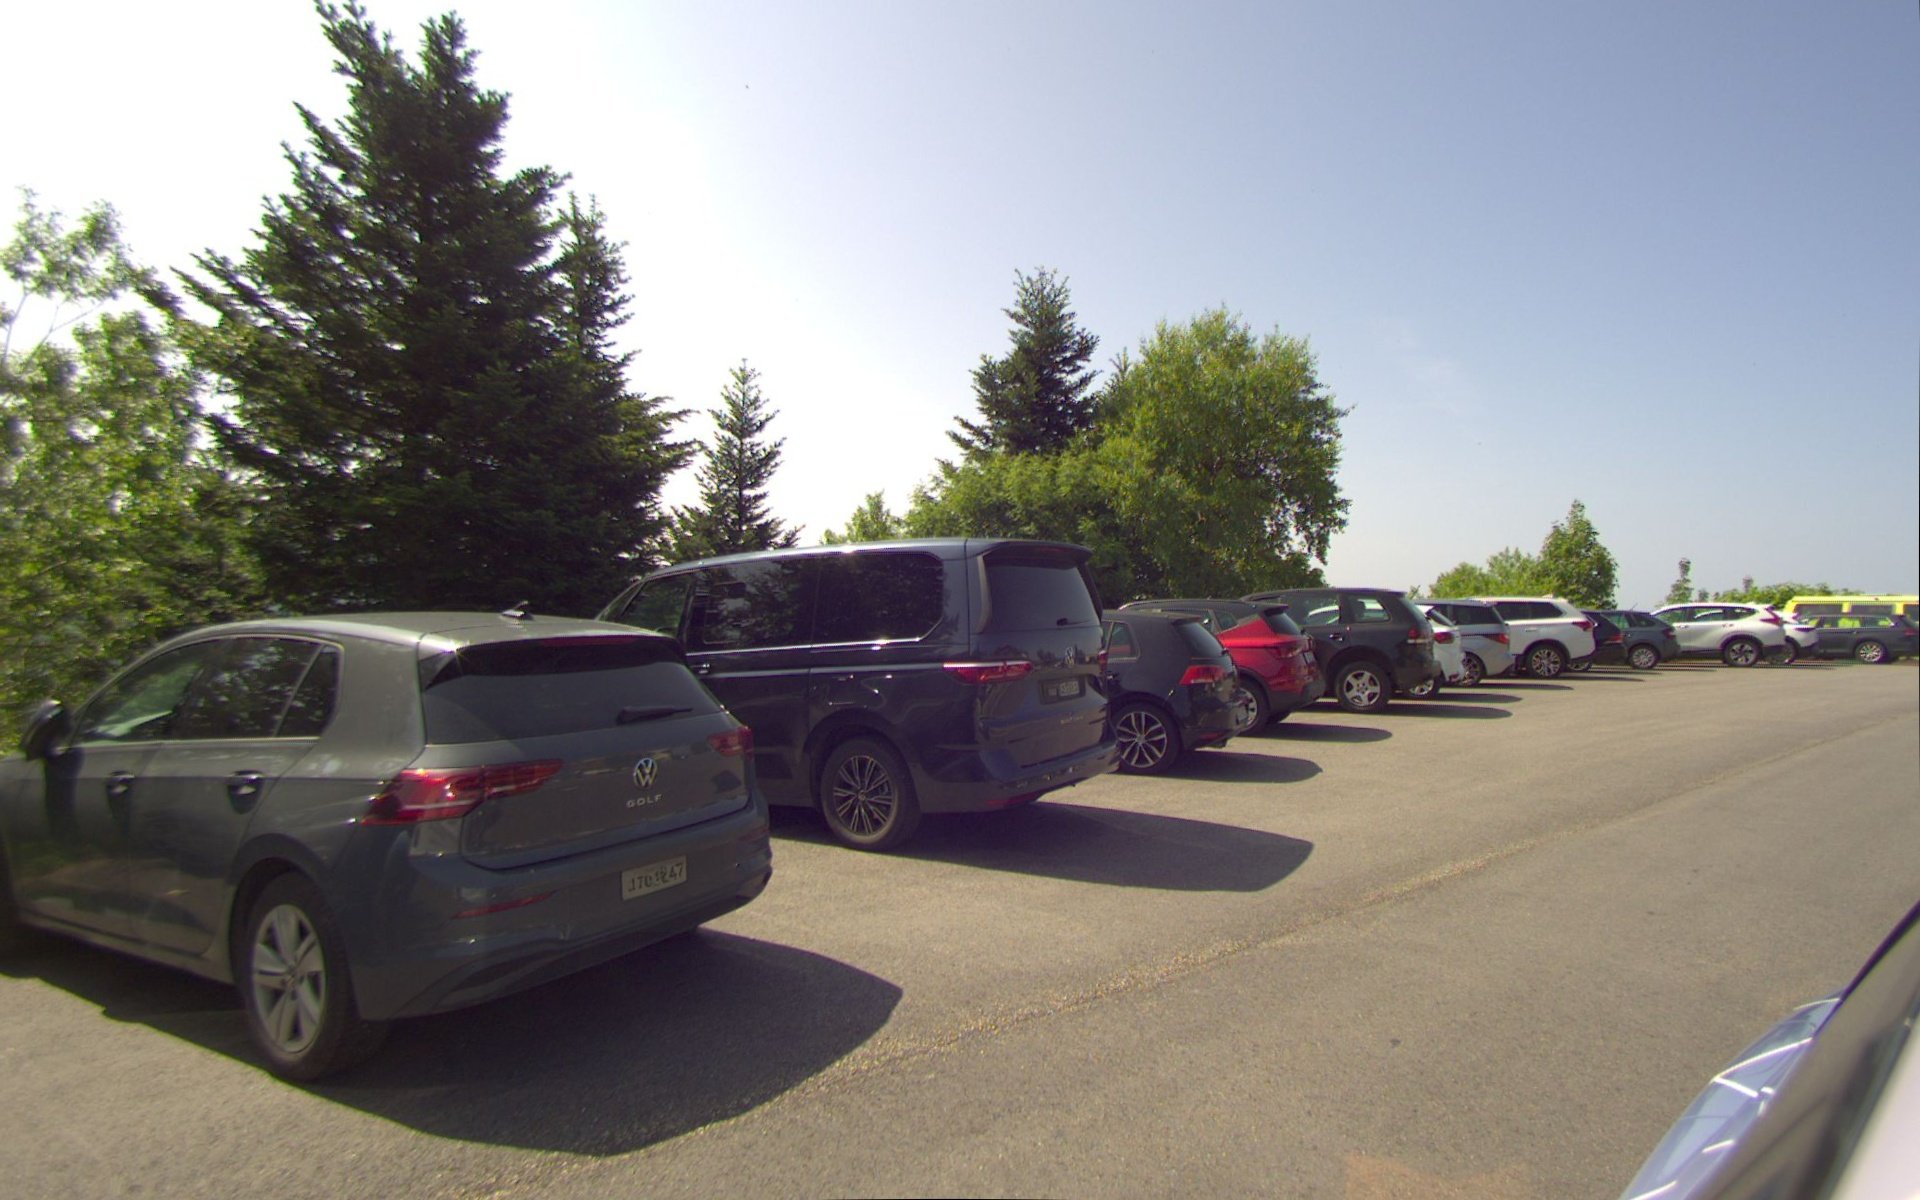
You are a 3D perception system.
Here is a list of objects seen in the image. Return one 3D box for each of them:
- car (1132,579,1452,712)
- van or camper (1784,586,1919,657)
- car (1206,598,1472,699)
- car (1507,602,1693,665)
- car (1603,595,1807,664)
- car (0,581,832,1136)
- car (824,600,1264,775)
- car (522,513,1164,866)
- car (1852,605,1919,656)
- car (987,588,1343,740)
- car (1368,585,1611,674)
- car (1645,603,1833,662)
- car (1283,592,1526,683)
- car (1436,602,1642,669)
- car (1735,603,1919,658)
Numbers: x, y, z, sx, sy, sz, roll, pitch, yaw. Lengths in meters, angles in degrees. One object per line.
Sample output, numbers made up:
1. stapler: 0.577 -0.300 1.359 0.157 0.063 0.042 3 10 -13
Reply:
1. car: 4.876 0.637 14.929 4.232 1.716 1.972 -1 -1 27
2. van or camper: 28.220 0.668 30.327 1.845 2.040 5.108 2 -3 -32
3. car: 6.283 0.760 16.841 3.962 1.495 1.750 -1 -1 28
4. car: 15.838 0.825 25.259 3.775 1.478 1.644 -1 -2 31
5. car: 19.413 0.766 26.644 4.155 1.671 1.869 -1 -2 34
6. car: -2.694 0.727 4.492 3.966 1.461 1.820 -1 -1 31
7. car: 0.815 0.764 9.895 3.955 1.433 1.730 -1 -1 24
8. car: -1.067 0.537 7.646 4.740 1.904 1.942 -1 -2 35
9. car: 30.834 0.974 31.611 1.671 1.609 4.165 2 -1 -33
10. car: 2.511 0.730 12.501 3.961 1.610 1.846 -1 -1 27
11. car: 10.898 0.594 21.187 4.167 1.716 1.854 0 -1 16
12. car: 21.749 0.840 28.340 4.082 1.519 1.915 0 0 42
13. car: 8.166 0.688 18.957 3.950 1.569 1.808 -1 -1 21
14. car: 13.481 0.829 23.880 4.008 1.480 1.878 -1 -1 25
15. car: 25.398 0.889 29.337 1.780 1.507 4.357 3 -3 -40
